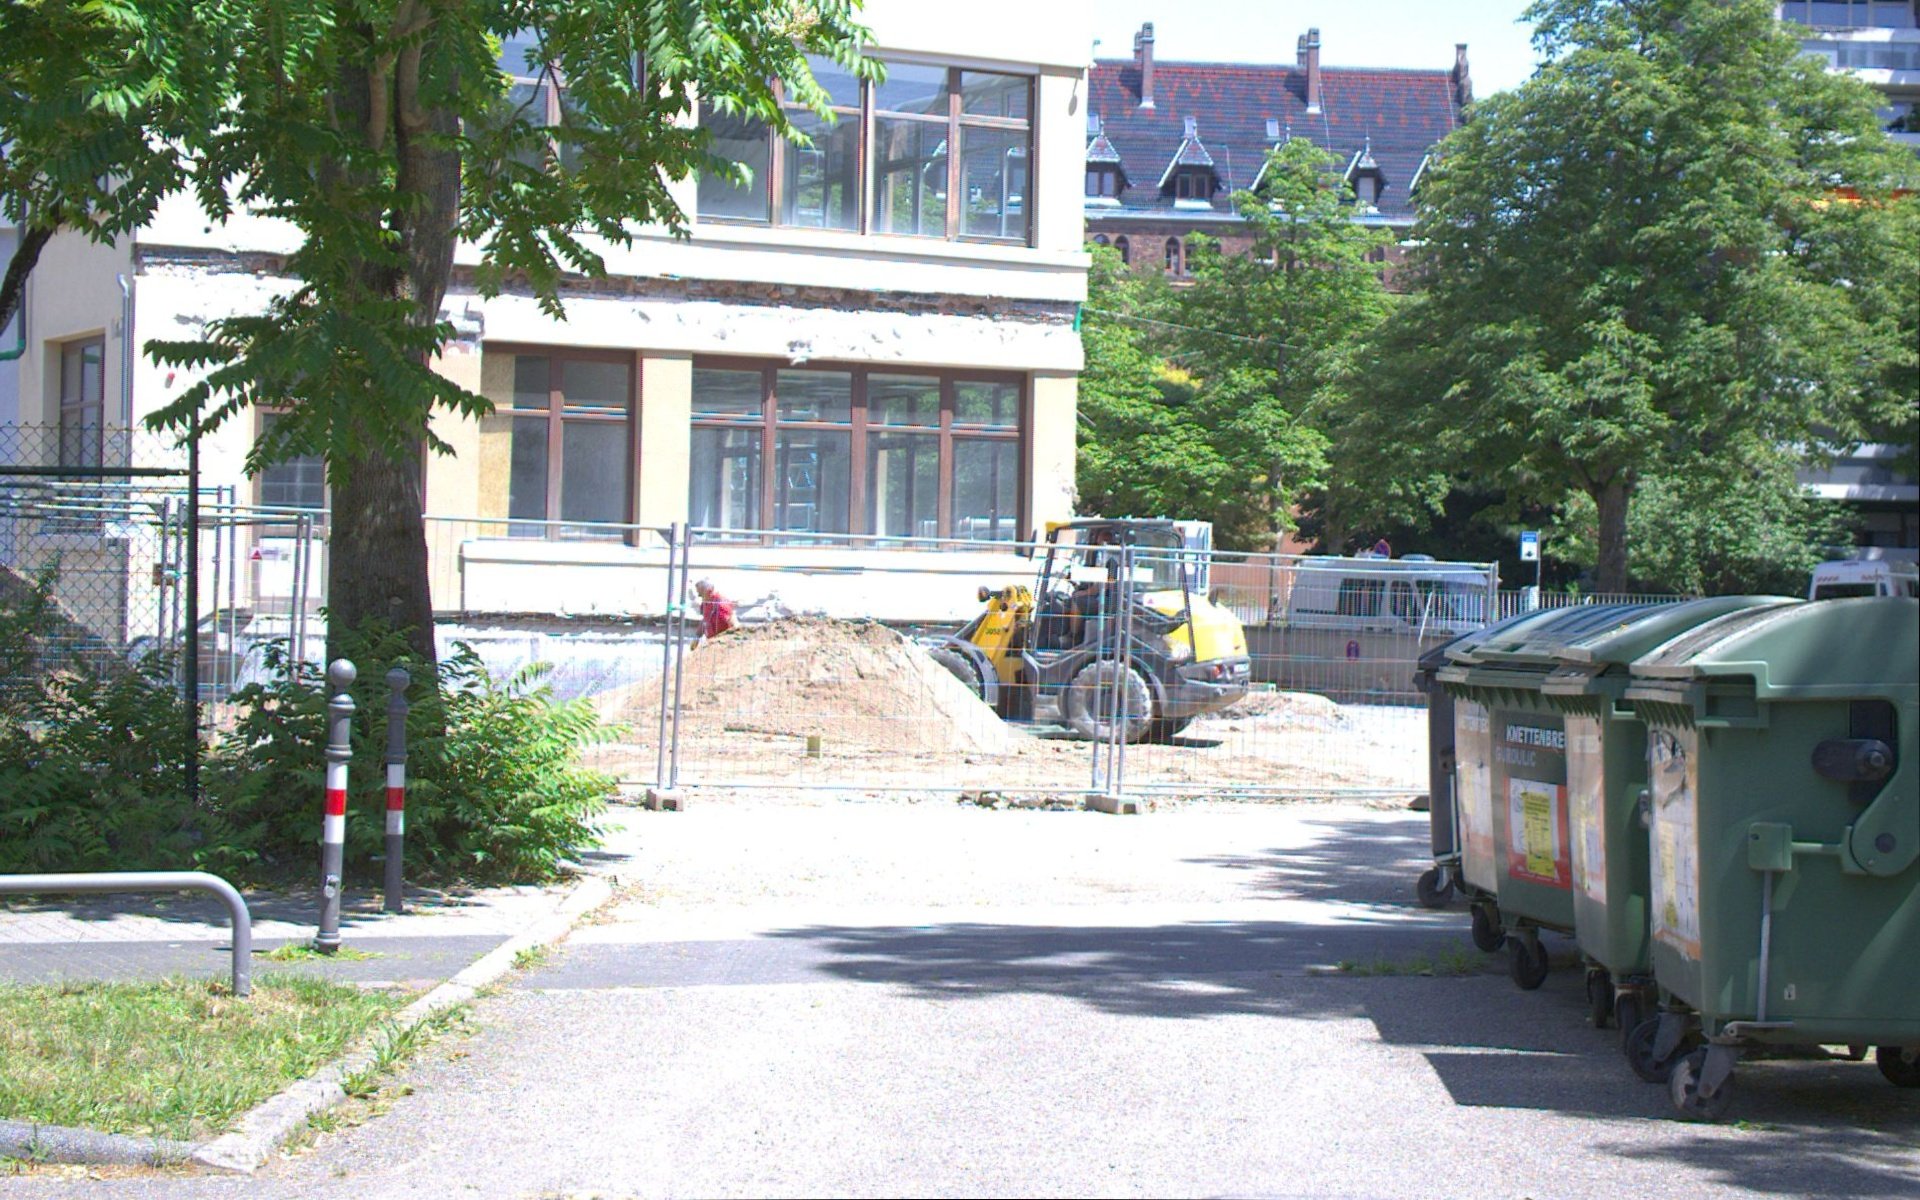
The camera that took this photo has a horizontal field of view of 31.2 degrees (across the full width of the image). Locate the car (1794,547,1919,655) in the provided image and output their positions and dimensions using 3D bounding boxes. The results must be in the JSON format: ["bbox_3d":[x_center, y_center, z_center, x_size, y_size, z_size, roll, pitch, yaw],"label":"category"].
[{"bbox_3d":[19.626,0.036,74.688,2.187,2.250,4.863,1,0,22],"label":"car"}]

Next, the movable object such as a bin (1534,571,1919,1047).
[{"bbox_3d":[2.541,0.649,11.322,1.075,1.453,1.377,1,0,2],"label":"movable object such as a bin"}]

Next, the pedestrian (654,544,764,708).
[{"bbox_3d":[-2.871,0.296,39.463,0.915,1.840,0.985,1,0,19],"label":"pedestrian"}]

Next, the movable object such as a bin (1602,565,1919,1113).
[{"bbox_3d":[2.508,0.644,9.879,1.075,1.453,1.377,1,0,2],"label":"movable object such as a bin"}]

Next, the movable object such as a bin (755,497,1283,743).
[{"bbox_3d":[0.650,0.194,38.960,5.412,2.456,2.364,3,1,28],"label":"movable object such as a bin"}]

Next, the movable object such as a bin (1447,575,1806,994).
[{"bbox_3d":[2.445,0.652,12.796,1.075,1.453,1.377,1,0,2],"label":"movable object such as a bin"}]

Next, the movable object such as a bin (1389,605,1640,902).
[{"bbox_3d":[2.832,0.763,17.719,1.075,1.453,1.377,1,0,2],"label":"movable object such as a bin"}]

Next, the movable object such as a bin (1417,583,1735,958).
[{"bbox_3d":[2.514,0.673,14.217,1.075,1.453,1.377,1,0,2],"label":"movable object such as a bin"}]

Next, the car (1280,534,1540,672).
[{"bbox_3d":[8.158,0.049,62.897,1.993,2.408,5.244,1,0,-28],"label":"car"}]
